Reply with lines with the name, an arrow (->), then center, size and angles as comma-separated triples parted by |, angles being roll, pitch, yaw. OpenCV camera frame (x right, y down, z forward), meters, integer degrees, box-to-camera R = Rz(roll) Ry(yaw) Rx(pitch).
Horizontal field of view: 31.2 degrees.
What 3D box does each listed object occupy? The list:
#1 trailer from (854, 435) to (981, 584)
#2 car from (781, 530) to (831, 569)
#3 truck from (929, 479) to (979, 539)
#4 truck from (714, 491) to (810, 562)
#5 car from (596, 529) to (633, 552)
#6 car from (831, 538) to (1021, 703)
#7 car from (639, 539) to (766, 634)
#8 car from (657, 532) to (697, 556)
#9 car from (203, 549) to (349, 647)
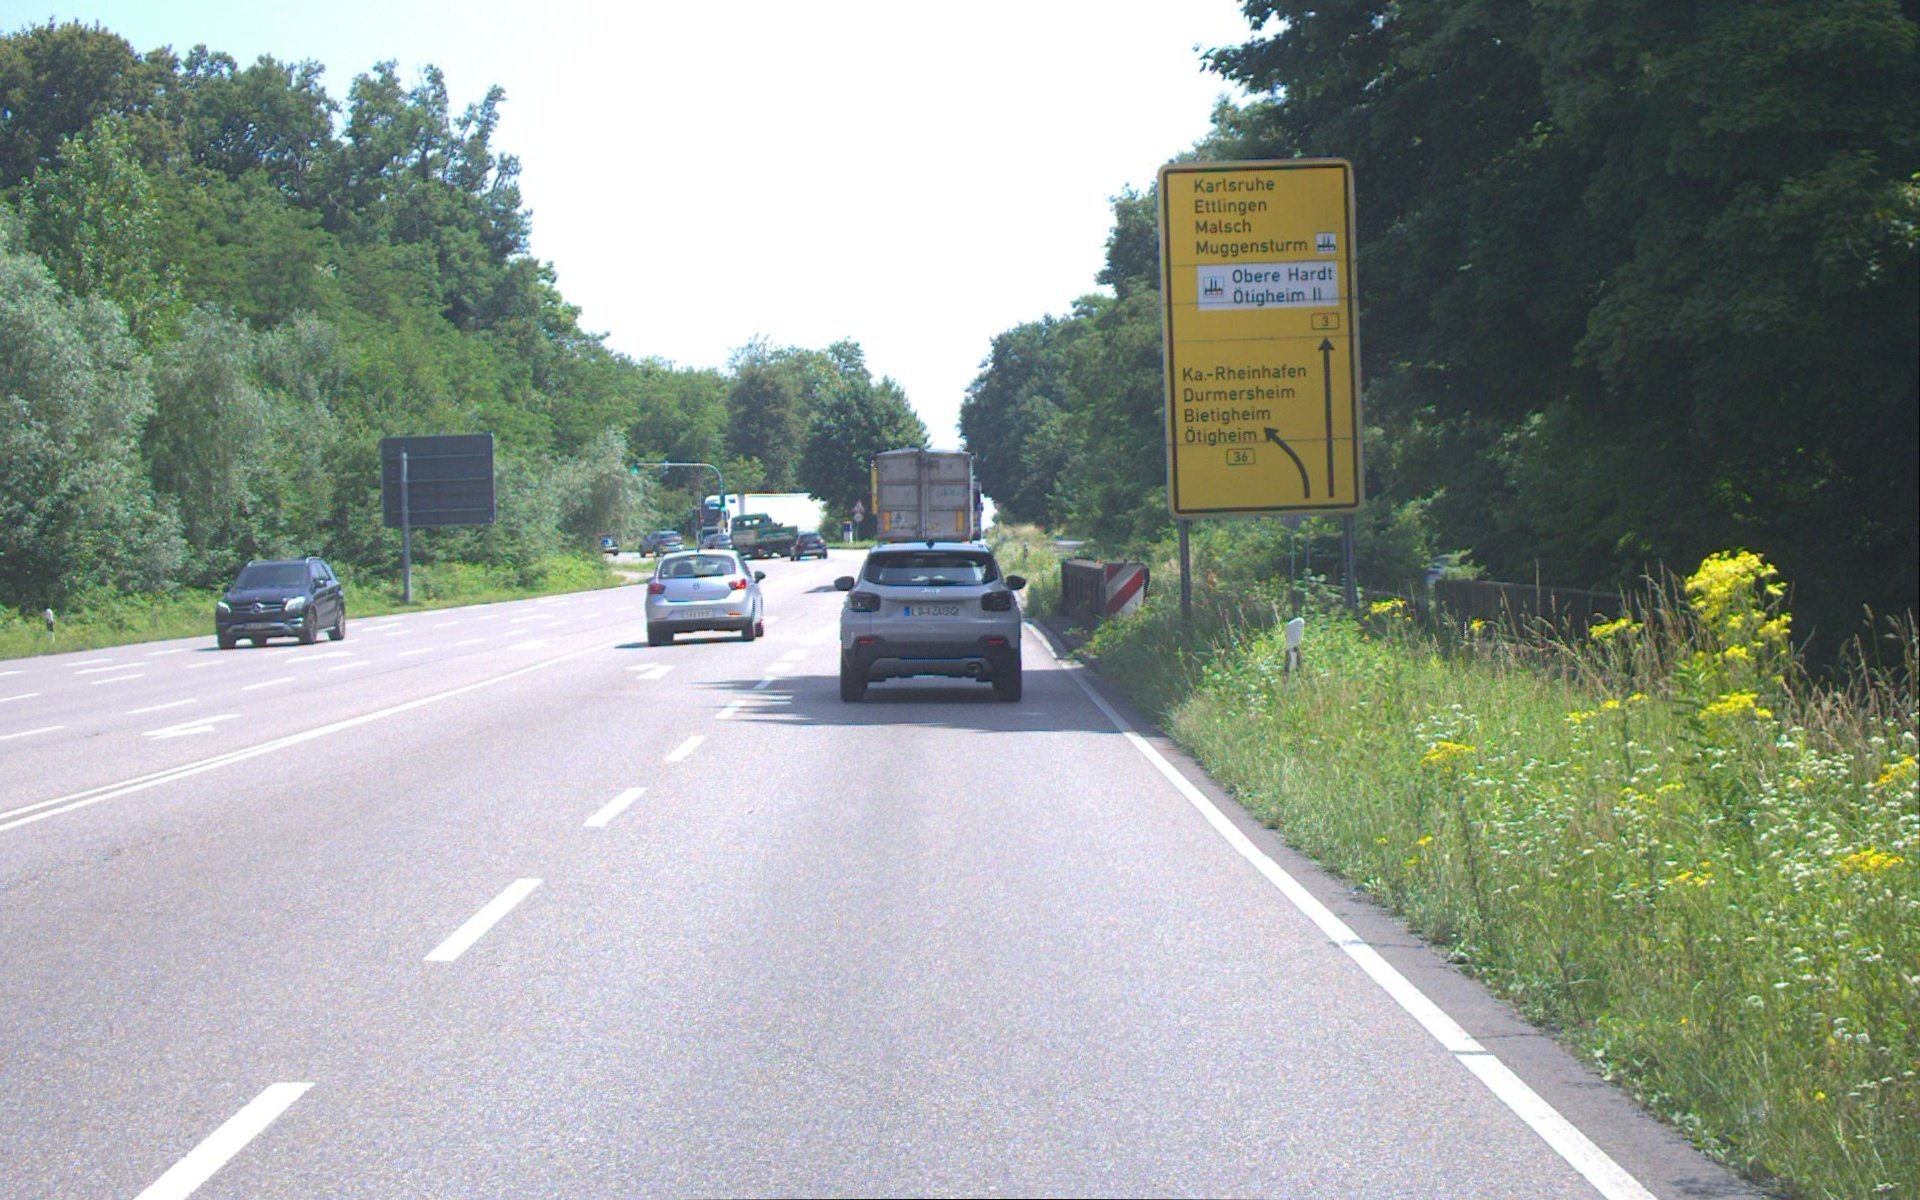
trailer -> -1.120, -2.506, 97.975 | 3.382, 3.975, 10.804 | 0, 1, 0
car -> -8.440, -2.753, 188.162 | 1.993, 2.007, 4.555 | -2, 1, -11
truck -> -0.458, -6.561, 248.978 | 3.497, 4.173, 10.784 | 0, 1, -1
truck -> -11.787, -4.309, 203.871 | 3.645, 4.091, 9.512 | -1, 1, -16
car -> -24.036, -4.108, 239.196 | 1.993, 1.579, 4.001 | -1, 1, -14
car -> -0.298, 0.158, 34.567 | 1.767, 1.529, 4.000 | -1, 1, 1
car -> -4.017, -0.238, 54.076 | 1.666, 1.425, 3.828 | 0, 1, 1
car -> -18.697, -3.689, 227.175 | 1.993, 1.579, 4.001 | -1, 1, -14
car -> -14.062, -0.079, 70.917 | 1.993, 1.875, 4.960 | -2, 1, -1
